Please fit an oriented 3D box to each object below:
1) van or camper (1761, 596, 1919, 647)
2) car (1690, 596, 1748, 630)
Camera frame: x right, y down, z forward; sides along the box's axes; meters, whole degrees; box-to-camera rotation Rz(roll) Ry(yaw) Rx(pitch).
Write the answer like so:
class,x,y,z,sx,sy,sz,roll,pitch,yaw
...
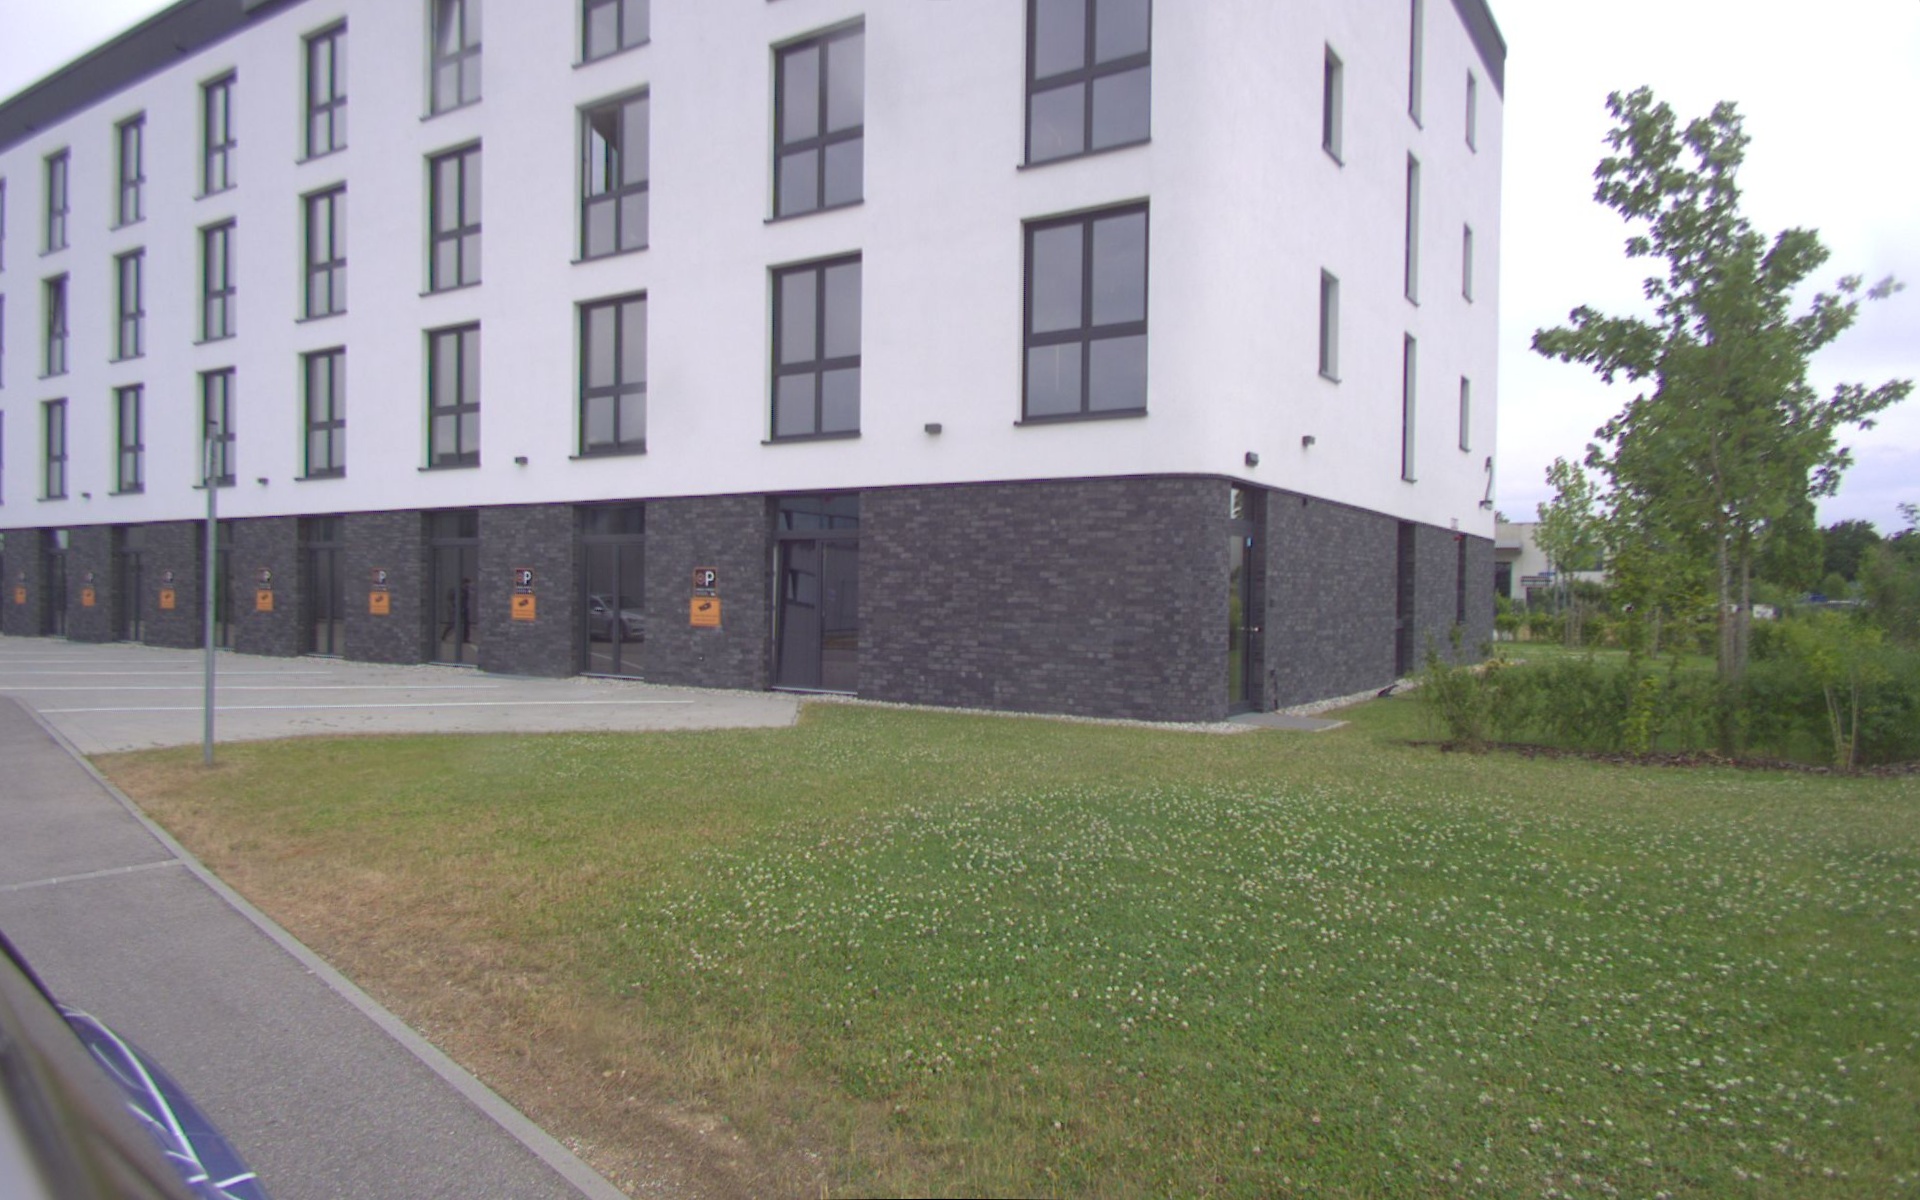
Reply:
class,x,y,z,sx,sy,sz,roll,pitch,yaw
van or camper,34.596,0.782,39.733,1.967,1.762,4.584,0,1,-36
car,39.641,0.662,52.946,1.887,1.652,3.960,1,0,29
